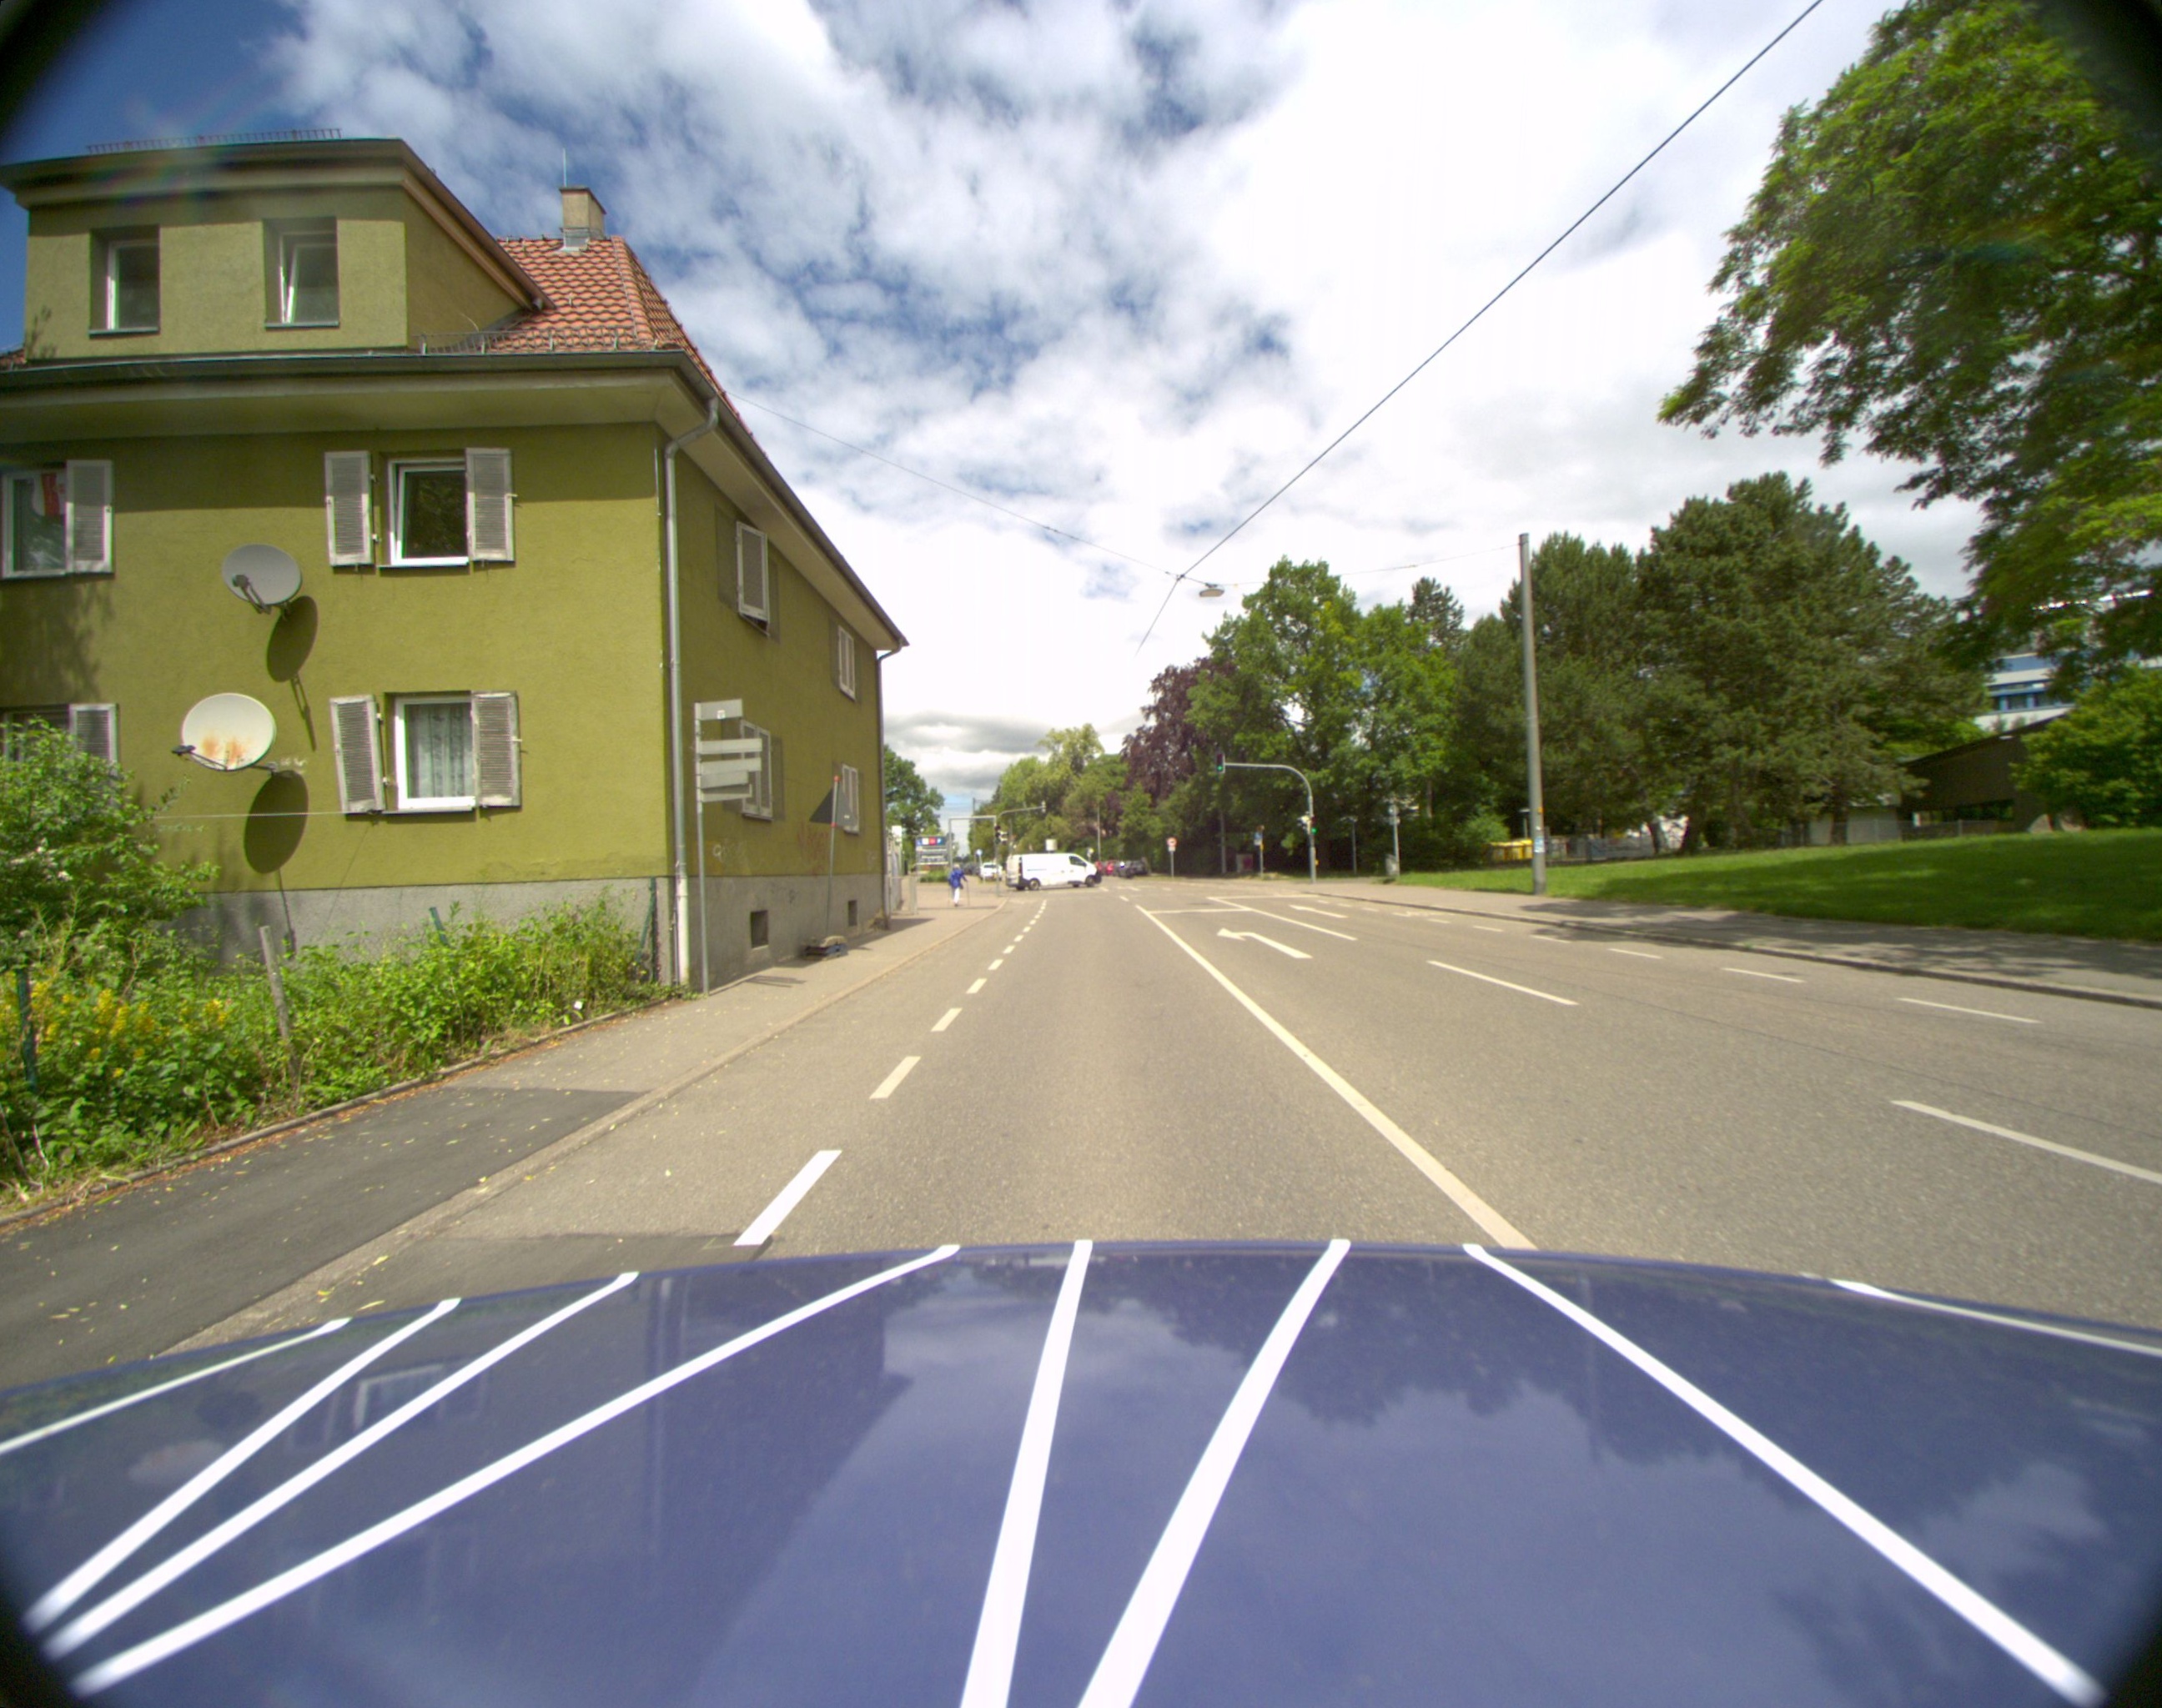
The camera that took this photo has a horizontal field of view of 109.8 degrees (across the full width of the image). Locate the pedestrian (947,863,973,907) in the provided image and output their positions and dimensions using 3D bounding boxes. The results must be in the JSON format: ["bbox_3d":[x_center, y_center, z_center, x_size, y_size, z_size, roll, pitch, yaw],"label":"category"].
[{"bbox_3d":[-4.425,1.106,27.851,0.826,1.563,0.987,-1,0,-4],"label":"pedestrian"}]

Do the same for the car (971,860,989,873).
[{"bbox_3d":[-12.509,1.540,93.793,1.707,1.522,3.995,-3,0,-15],"label":"car"}]

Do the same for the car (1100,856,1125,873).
[{"bbox_3d":[3.063,0.990,73.726,1.524,1.469,3.321,-3,0,-12],"label":"car"}]

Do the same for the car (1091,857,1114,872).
[{"bbox_3d":[2.229,1.080,78.862,1.531,1.358,3.371,-3,1,-12],"label":"car"}]

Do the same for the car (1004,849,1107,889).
[{"bbox_3d":[-1.366,0.805,42.221,5.359,2.011,1.995,-1,0,-28],"label":"car"}]

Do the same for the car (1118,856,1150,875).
[{"bbox_3d":[4.507,0.973,64.757,1.688,1.407,4.398,-3,1,-9],"label":"car"}]

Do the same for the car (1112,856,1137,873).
[{"bbox_3d":[3.900,0.920,69.216,1.560,1.404,3.191,-3,1,-9],"label":"car"}]

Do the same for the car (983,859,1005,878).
[{"bbox_3d":[-7.556,1.243,65.695,1.796,1.522,3.918,0,0,-9],"label":"car"}]
